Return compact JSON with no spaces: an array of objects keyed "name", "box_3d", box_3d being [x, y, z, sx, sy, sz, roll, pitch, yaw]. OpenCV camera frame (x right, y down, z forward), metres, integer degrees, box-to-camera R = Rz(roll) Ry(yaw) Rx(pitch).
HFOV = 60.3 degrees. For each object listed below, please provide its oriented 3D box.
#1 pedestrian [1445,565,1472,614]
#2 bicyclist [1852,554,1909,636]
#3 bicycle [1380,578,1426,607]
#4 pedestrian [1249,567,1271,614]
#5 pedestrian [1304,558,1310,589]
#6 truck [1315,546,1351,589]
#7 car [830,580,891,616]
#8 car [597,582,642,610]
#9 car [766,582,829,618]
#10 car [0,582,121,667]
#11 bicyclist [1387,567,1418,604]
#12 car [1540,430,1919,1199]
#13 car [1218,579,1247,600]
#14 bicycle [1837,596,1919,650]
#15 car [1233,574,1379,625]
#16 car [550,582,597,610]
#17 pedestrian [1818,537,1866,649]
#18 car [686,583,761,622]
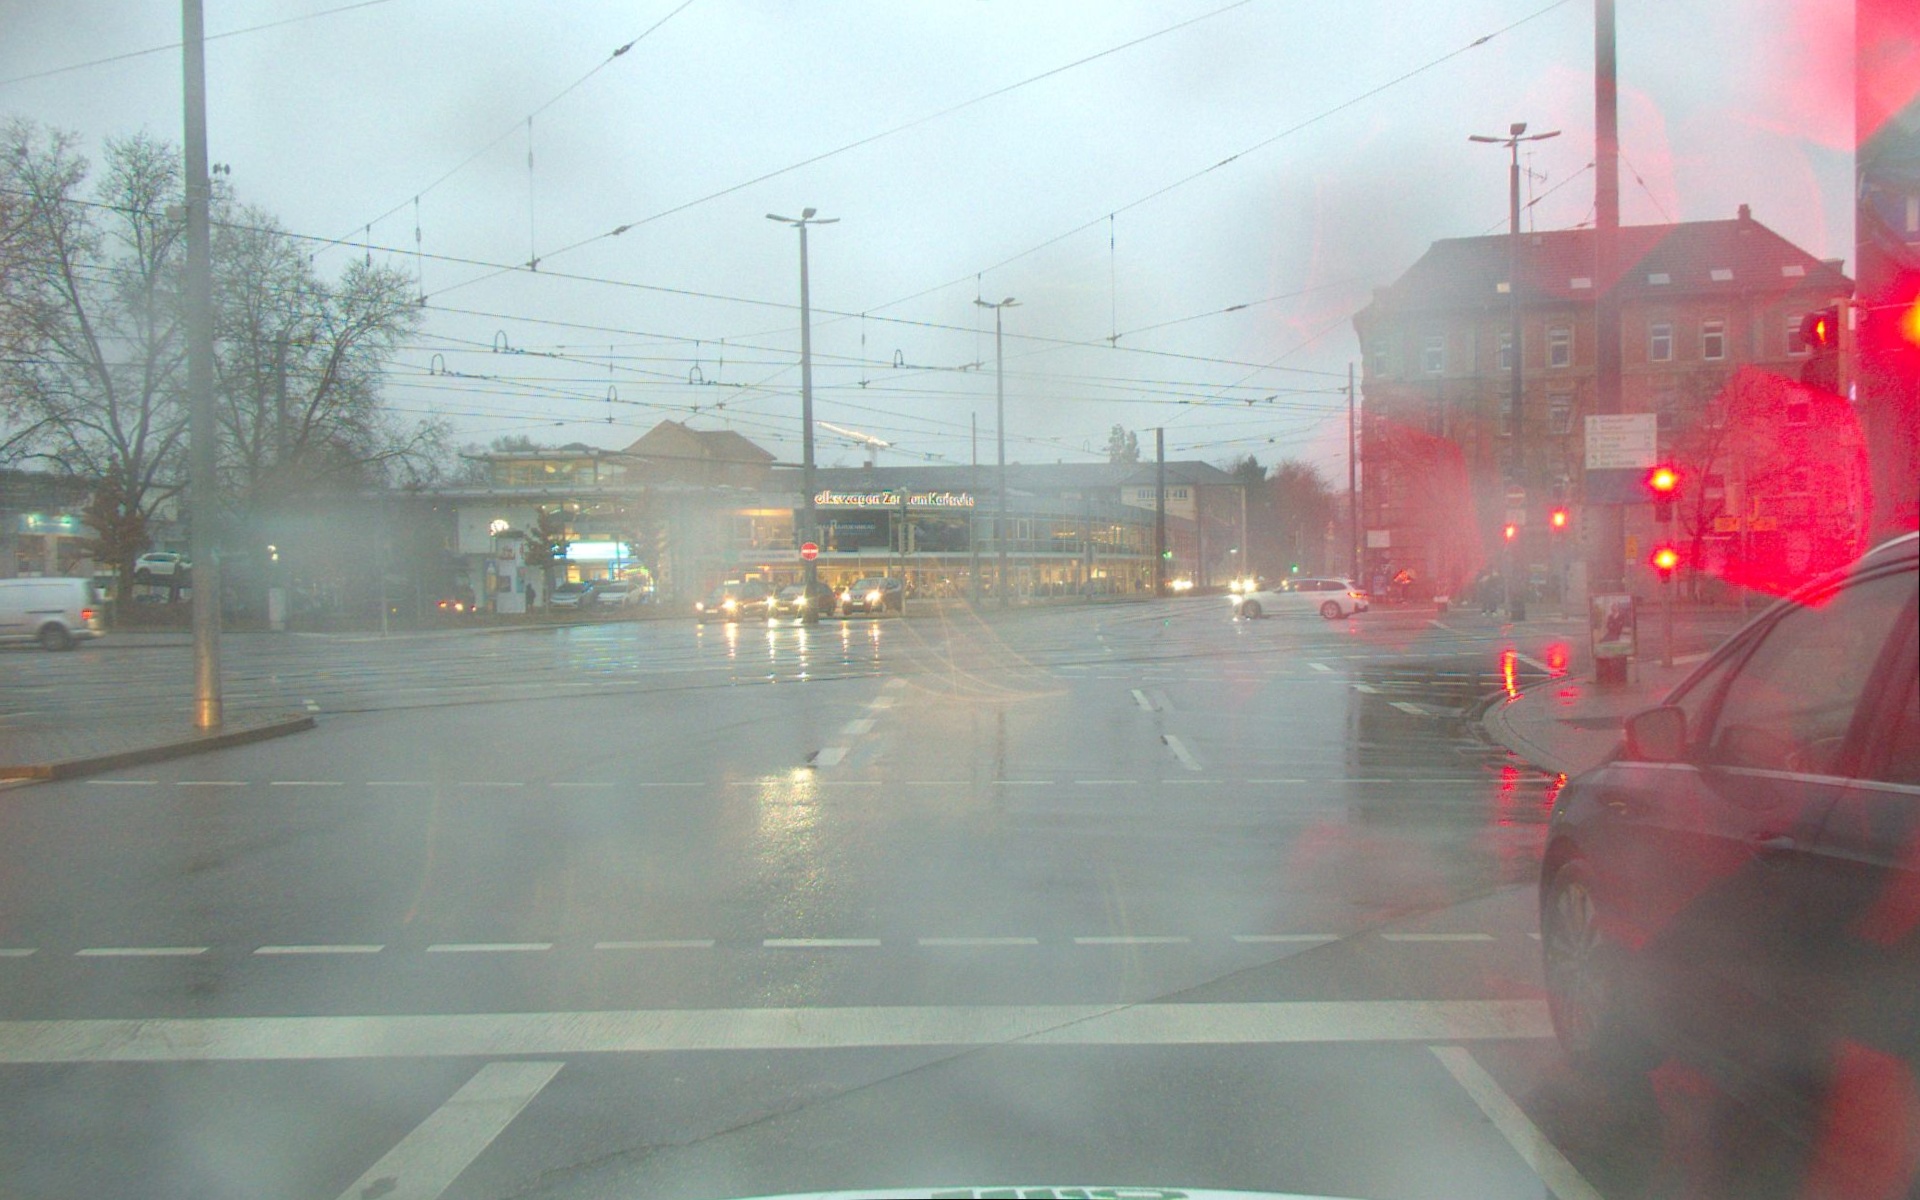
[{"name":"pedestrian","box_3d":[20.991,-0.445,69.685,0.721,2.049,0.781,-1,0,-30]},{"name":"bicyclist","box_3d":[18.237,-0.101,32.767,0.769,1.603,0.688,-1,0,-32]},{"name":"bicycle","box_3d":[21.528,-0.364,80.491,0.690,1.400,2.178,-1,0,-38]},{"name":"pedestrian","box_3d":[12.060,-0.372,66.479,0.586,1.872,0.611,-1,0,-35]},{"name":"pedestrian","box_3d":[22.586,-1.731,107.671,0.336,2.049,0.418,-1,0,15]},{"name":"truck","box_3d":[24.512,-2.116,108.523,1.951,2.738,5.118,-1,0,17]},{"name":"car","box_3d":[-4.191,-0.096,70.463,1.774,1.472,4.003,-1,0,8]},{"name":"car","box_3d":[-20.978,-0.268,101.953,1.824,1.629,4.001,-1,0,1]},{"name":"car","box_3d":[-6.973,-0.008,71.312,1.774,1.472,4.003,-1,0,8]},{"name":"car","box_3d":[-23.802,0.637,41.789,4.336,2.049,1.900,1,-3,-19]},{"name":"bicyclist","box_3d":[21.538,-0.701,80.505,1.039,1.799,1.058,-1,0,-37]},{"name":"car","box_3d":[2.824,0.568,3.494,1.741,1.831,4.425,0,1,1]},{"name":"car","box_3d":[22.410,-0.852,135.887,1.823,1.629,3.788,-1,0,17]},{"name":"bicycle","box_3d":[18.301,0.444,32.816,1.988,0.998,0.688,-1,0,-33]},{"name":"car","box_3d":[12.116,-0.021,57.945,4.703,1.686,1.739,-1,0,25]},{"name":"car","box_3d":[-23.827,-0.250,102.148,1.824,1.629,4.001,-1,0,1]},{"name":"pedestrian","box_3d":[15.864,-0.119,29.746,0.664,1.984,0.674,-1,0,36]},{"name":"car","box_3d":[-9.200,0.080,64.613,1.774,1.472,4.003,-1,0,8]}]
